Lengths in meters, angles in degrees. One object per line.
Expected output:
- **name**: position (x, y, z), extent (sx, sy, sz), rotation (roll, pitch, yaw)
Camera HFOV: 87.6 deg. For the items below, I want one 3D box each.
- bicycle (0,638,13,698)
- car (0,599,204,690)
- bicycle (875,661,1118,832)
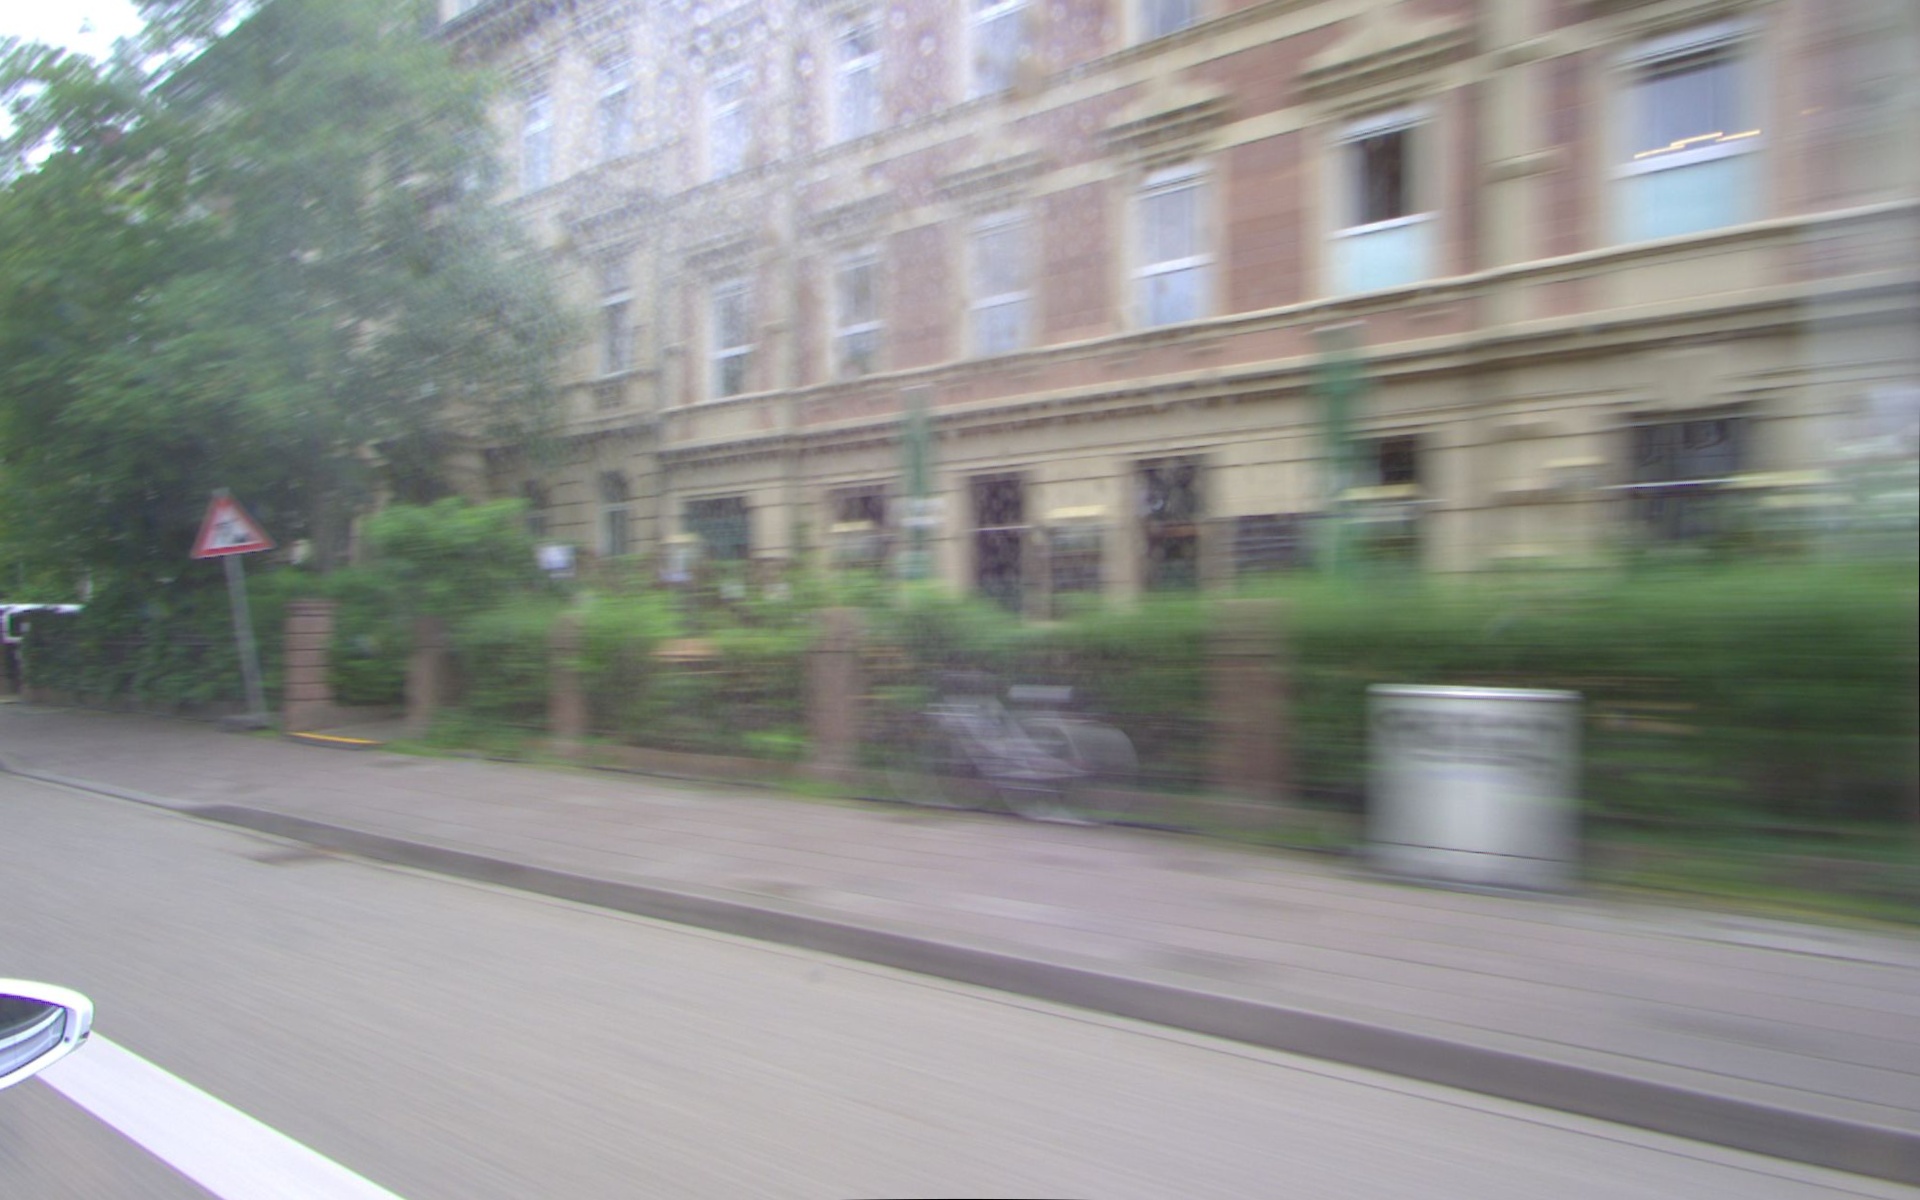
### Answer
- **bicycle**: position (-18.415, 1.302, 18.035), extent (0.597, 1.091, 1.837), rotation (0, 3, 31)
- **car**: position (-19.805, 0.948, 22.634), extent (1.783, 1.883, 3.979), rotation (0, 0, 32)
- **bicycle**: position (0.217, 0.987, 7.090), extent (1.822, 1.055, 0.301), rotation (-1, -1, 32)
